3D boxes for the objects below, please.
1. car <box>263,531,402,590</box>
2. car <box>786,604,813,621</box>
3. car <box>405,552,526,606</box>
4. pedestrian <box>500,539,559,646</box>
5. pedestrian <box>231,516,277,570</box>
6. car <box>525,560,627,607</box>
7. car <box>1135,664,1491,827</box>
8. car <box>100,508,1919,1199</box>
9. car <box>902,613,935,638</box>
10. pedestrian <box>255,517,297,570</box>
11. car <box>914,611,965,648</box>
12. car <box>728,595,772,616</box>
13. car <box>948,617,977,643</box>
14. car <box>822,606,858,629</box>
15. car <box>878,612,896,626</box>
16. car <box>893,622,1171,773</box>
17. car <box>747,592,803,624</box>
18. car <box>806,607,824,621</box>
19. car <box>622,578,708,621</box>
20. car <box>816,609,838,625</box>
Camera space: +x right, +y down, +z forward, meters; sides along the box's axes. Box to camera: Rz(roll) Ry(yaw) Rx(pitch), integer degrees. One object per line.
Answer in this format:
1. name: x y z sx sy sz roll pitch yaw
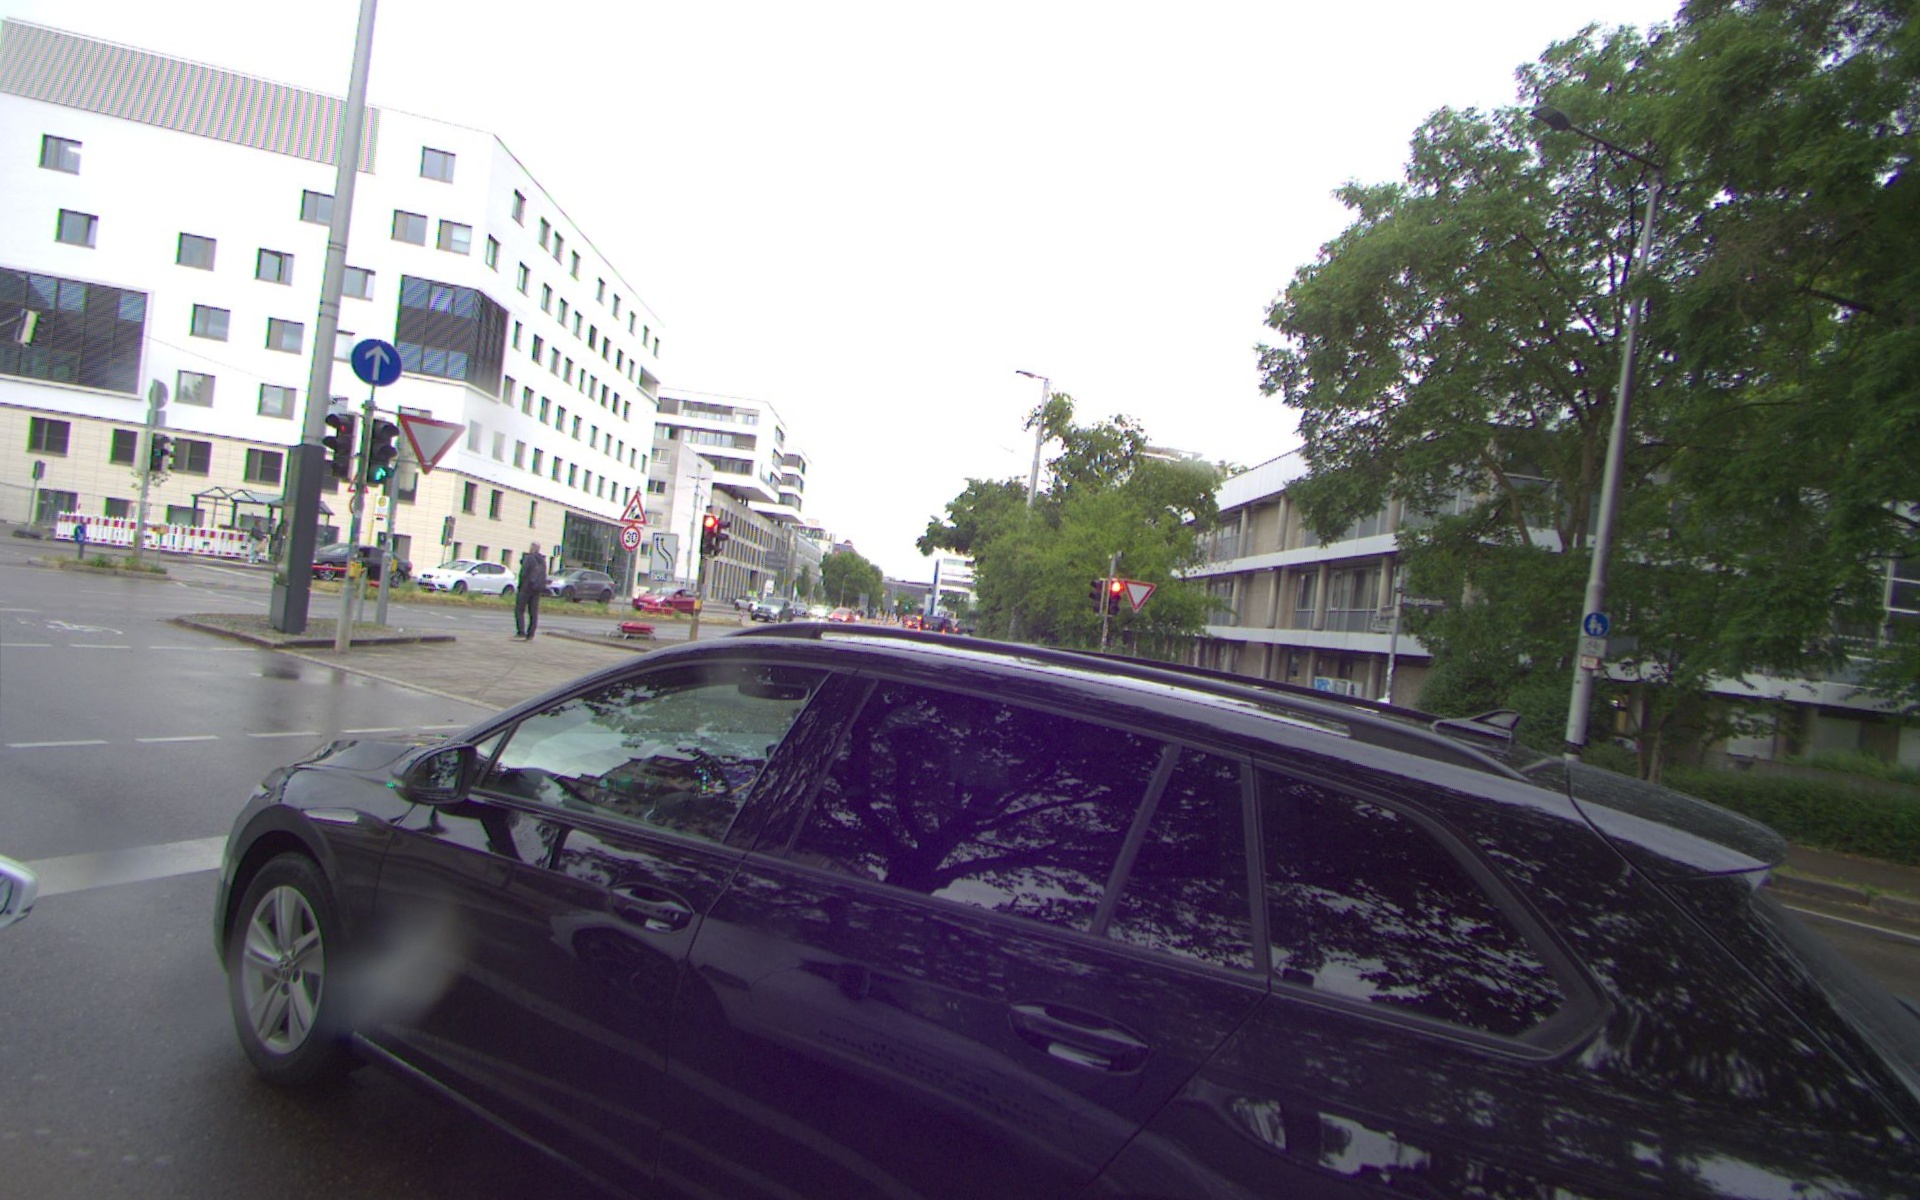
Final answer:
1. car: -22.766 -1.393 36.671 1.764 1.459 4.006 7 -3 17
2. car: -15.864 1.245 99.652 1.964 1.394 4.387 8 -1 -2
3. car: -18.973 -0.764 38.789 1.764 1.459 4.006 7 -3 17
4. pedestrian: -8.288 -0.135 19.363 0.820 1.913 1.022 7 -2 -24
5. pedestrian: -26.800 -2.170 38.210 0.808 1.860 0.955 6 -2 21
6. car: -18.665 -0.767 49.070 1.964 1.684 4.387 7 -1 25
7. car: 4.810 1.962 14.300 1.853 1.467 4.360 9 -2 -37
8. car: -0.279 0.778 2.721 4.436 1.483 1.673 8 -1 31
9. car: -3.271 2.086 80.680 1.764 1.726 4.692 8 -1 6
10. pedestrian: -27.676 -2.286 40.715 0.941 1.957 1.001 5 -2 41
11. car: -1.217 1.846 61.717 1.764 1.930 4.313 8 -1 15
12. car: -20.718 0.533 99.246 4.003 1.575 1.962 6 -3 38
13. car: 0.271 2.471 81.941 1.963 1.829 4.792 8 -2 3
14. car: -9.783 1.438 82.578 1.930 1.466 4.165 8 -3 5
15. car: -10.206 2.602 139.563 1.837 1.669 4.773 7 -3 -10
16. car: 0.860 1.298 14.339 1.850 1.467 3.967 8 -1 -31
17. car: -11.969 0.521 65.368 1.929 1.554 4.166 8 -3 12
18. car: -18.370 1.836 127.383 1.934 1.466 4.155 8 -3 -9
19. car: -15.030 0.006 51.469 1.929 1.574 4.536 7 -3 16
20. car: -15.394 1.978 116.271 1.936 1.466 4.152 9 -3 -12
